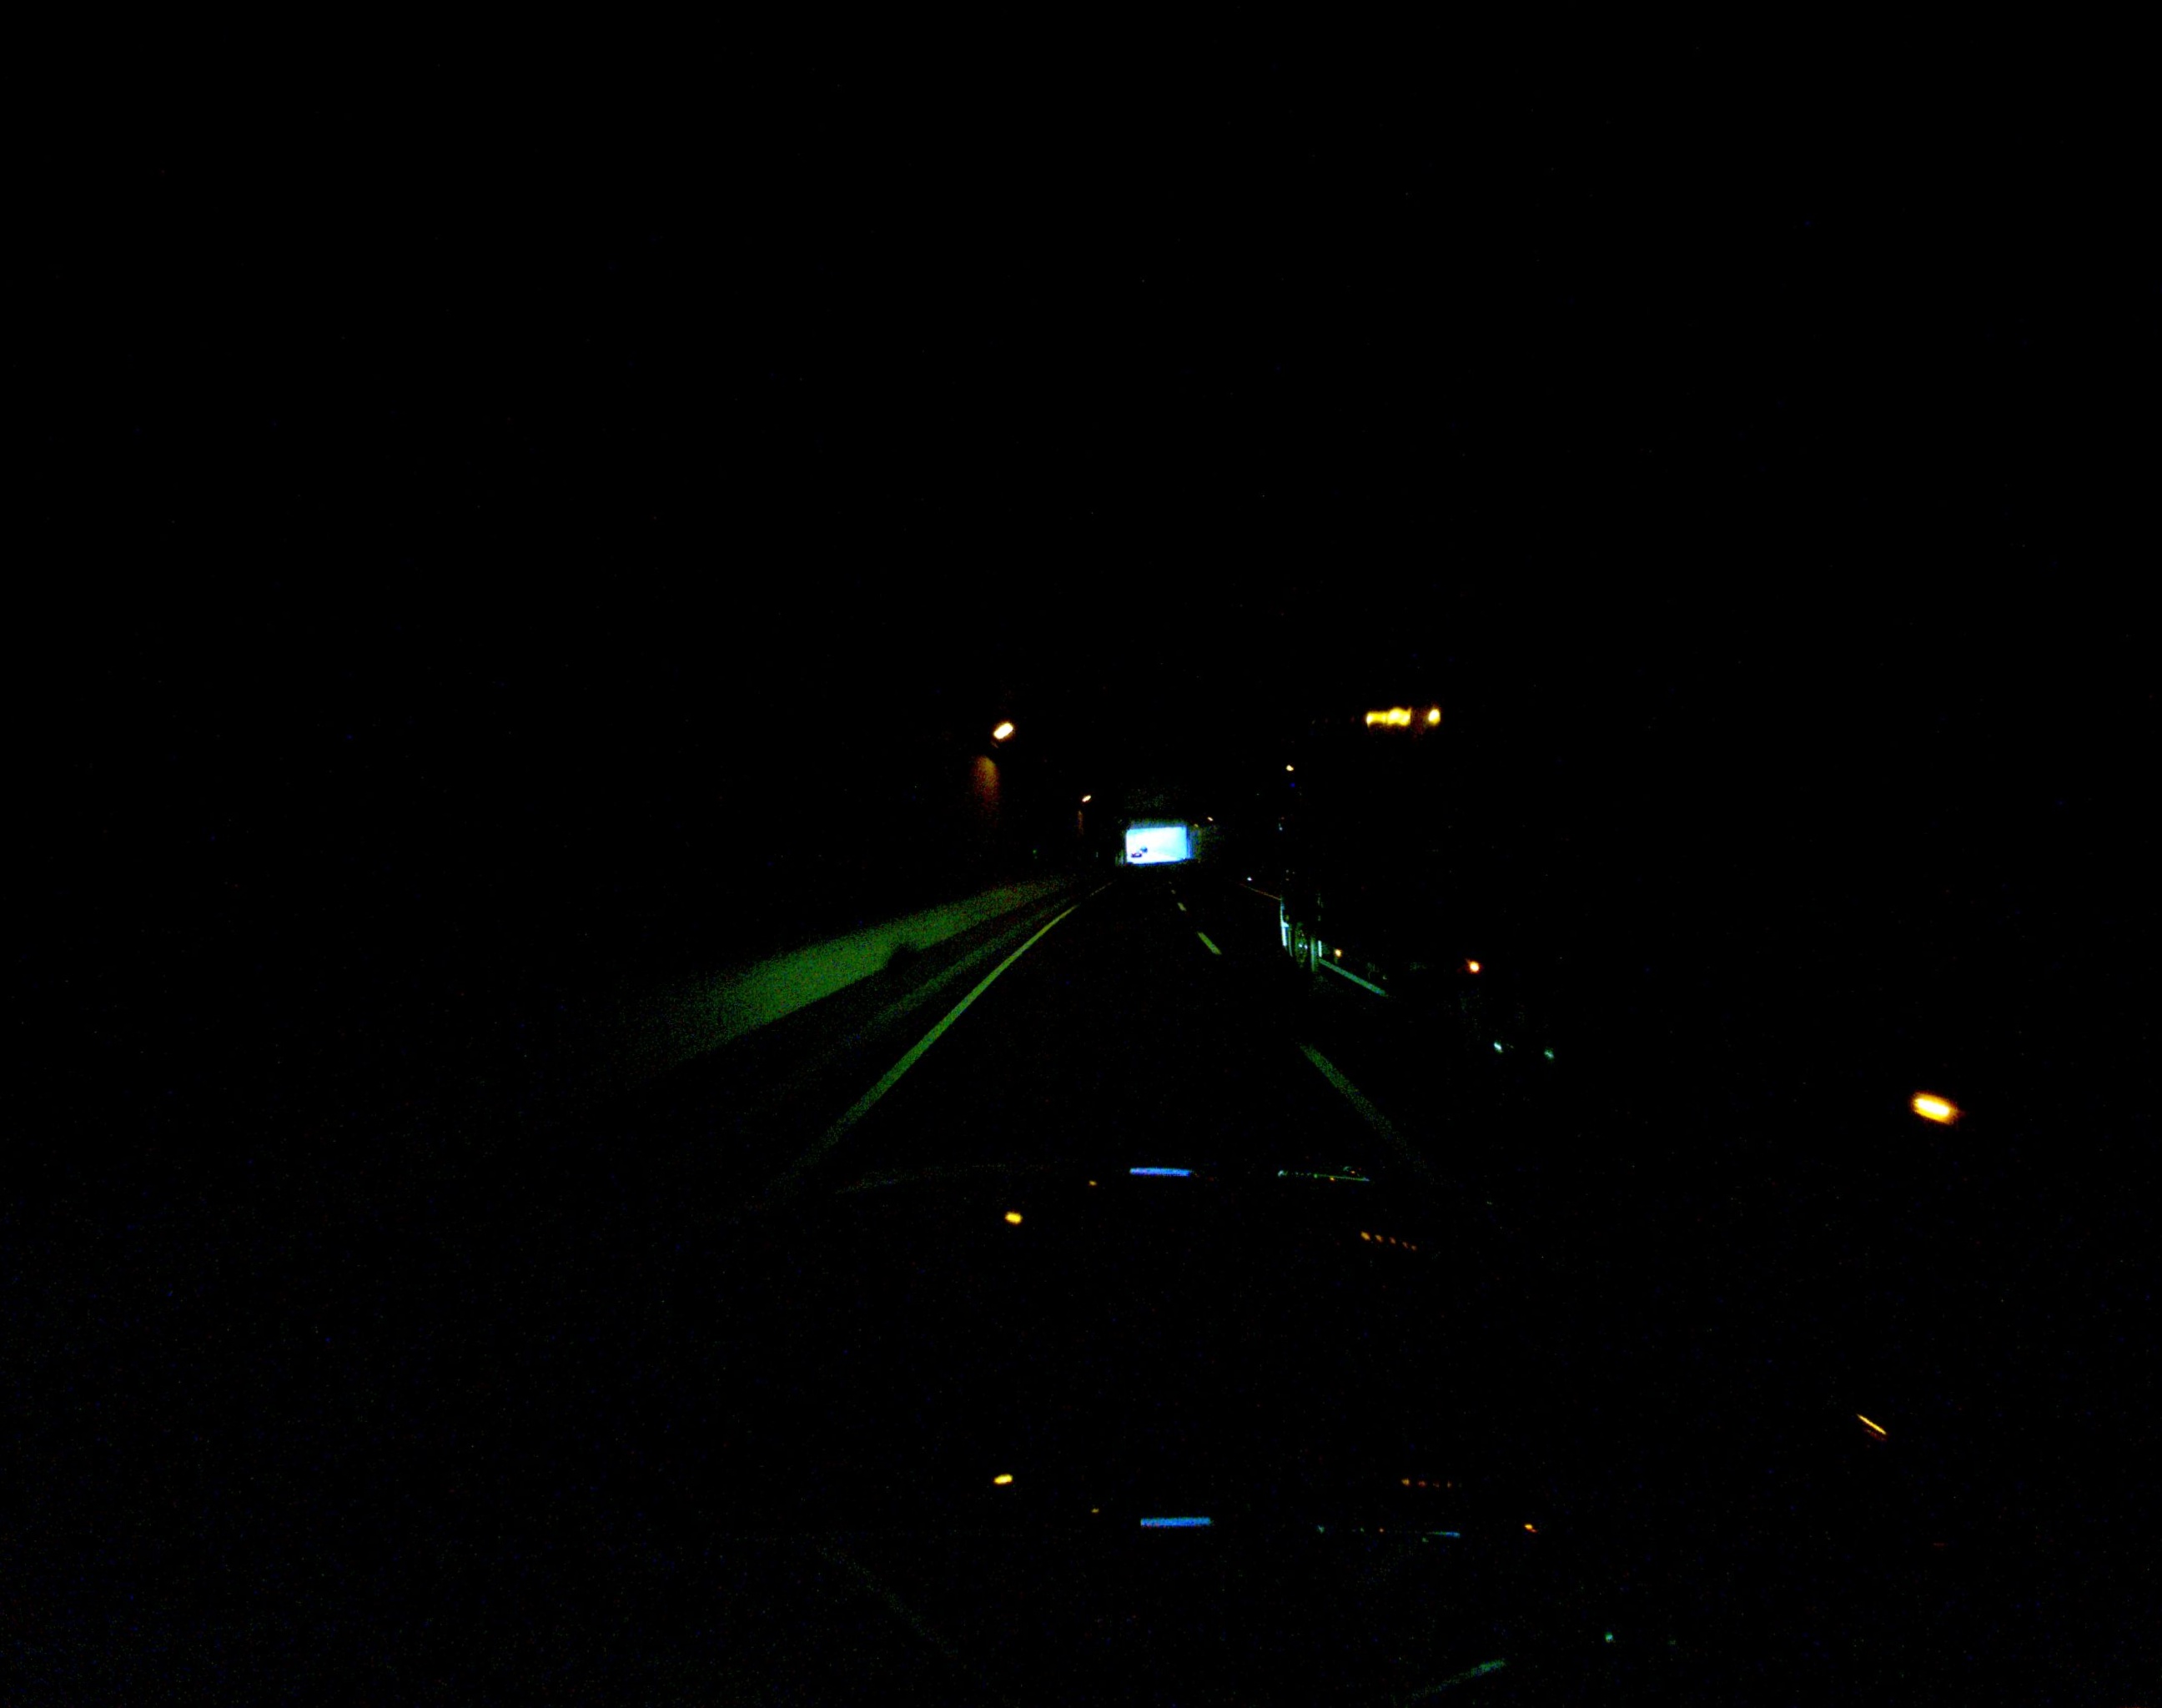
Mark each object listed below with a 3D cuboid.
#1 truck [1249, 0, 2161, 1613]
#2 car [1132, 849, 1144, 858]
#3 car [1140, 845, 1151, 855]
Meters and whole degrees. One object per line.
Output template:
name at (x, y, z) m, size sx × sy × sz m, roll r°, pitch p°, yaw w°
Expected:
truck at (3.500, -0.612, 5.417) m, size 2.878 × 3.913 × 9.913 m, roll -2°, pitch 0°, yaw 2°
car at (9.618, -0.092, 138.705) m, size 1.834 × 1.388 × 4.001 m, roll -3°, pitch -1°, yaw 2°
car at (12.220, -0.776, 154.724) m, size 1.862 × 1.732 × 4.002 m, roll -3°, pitch -1°, yaw 2°
